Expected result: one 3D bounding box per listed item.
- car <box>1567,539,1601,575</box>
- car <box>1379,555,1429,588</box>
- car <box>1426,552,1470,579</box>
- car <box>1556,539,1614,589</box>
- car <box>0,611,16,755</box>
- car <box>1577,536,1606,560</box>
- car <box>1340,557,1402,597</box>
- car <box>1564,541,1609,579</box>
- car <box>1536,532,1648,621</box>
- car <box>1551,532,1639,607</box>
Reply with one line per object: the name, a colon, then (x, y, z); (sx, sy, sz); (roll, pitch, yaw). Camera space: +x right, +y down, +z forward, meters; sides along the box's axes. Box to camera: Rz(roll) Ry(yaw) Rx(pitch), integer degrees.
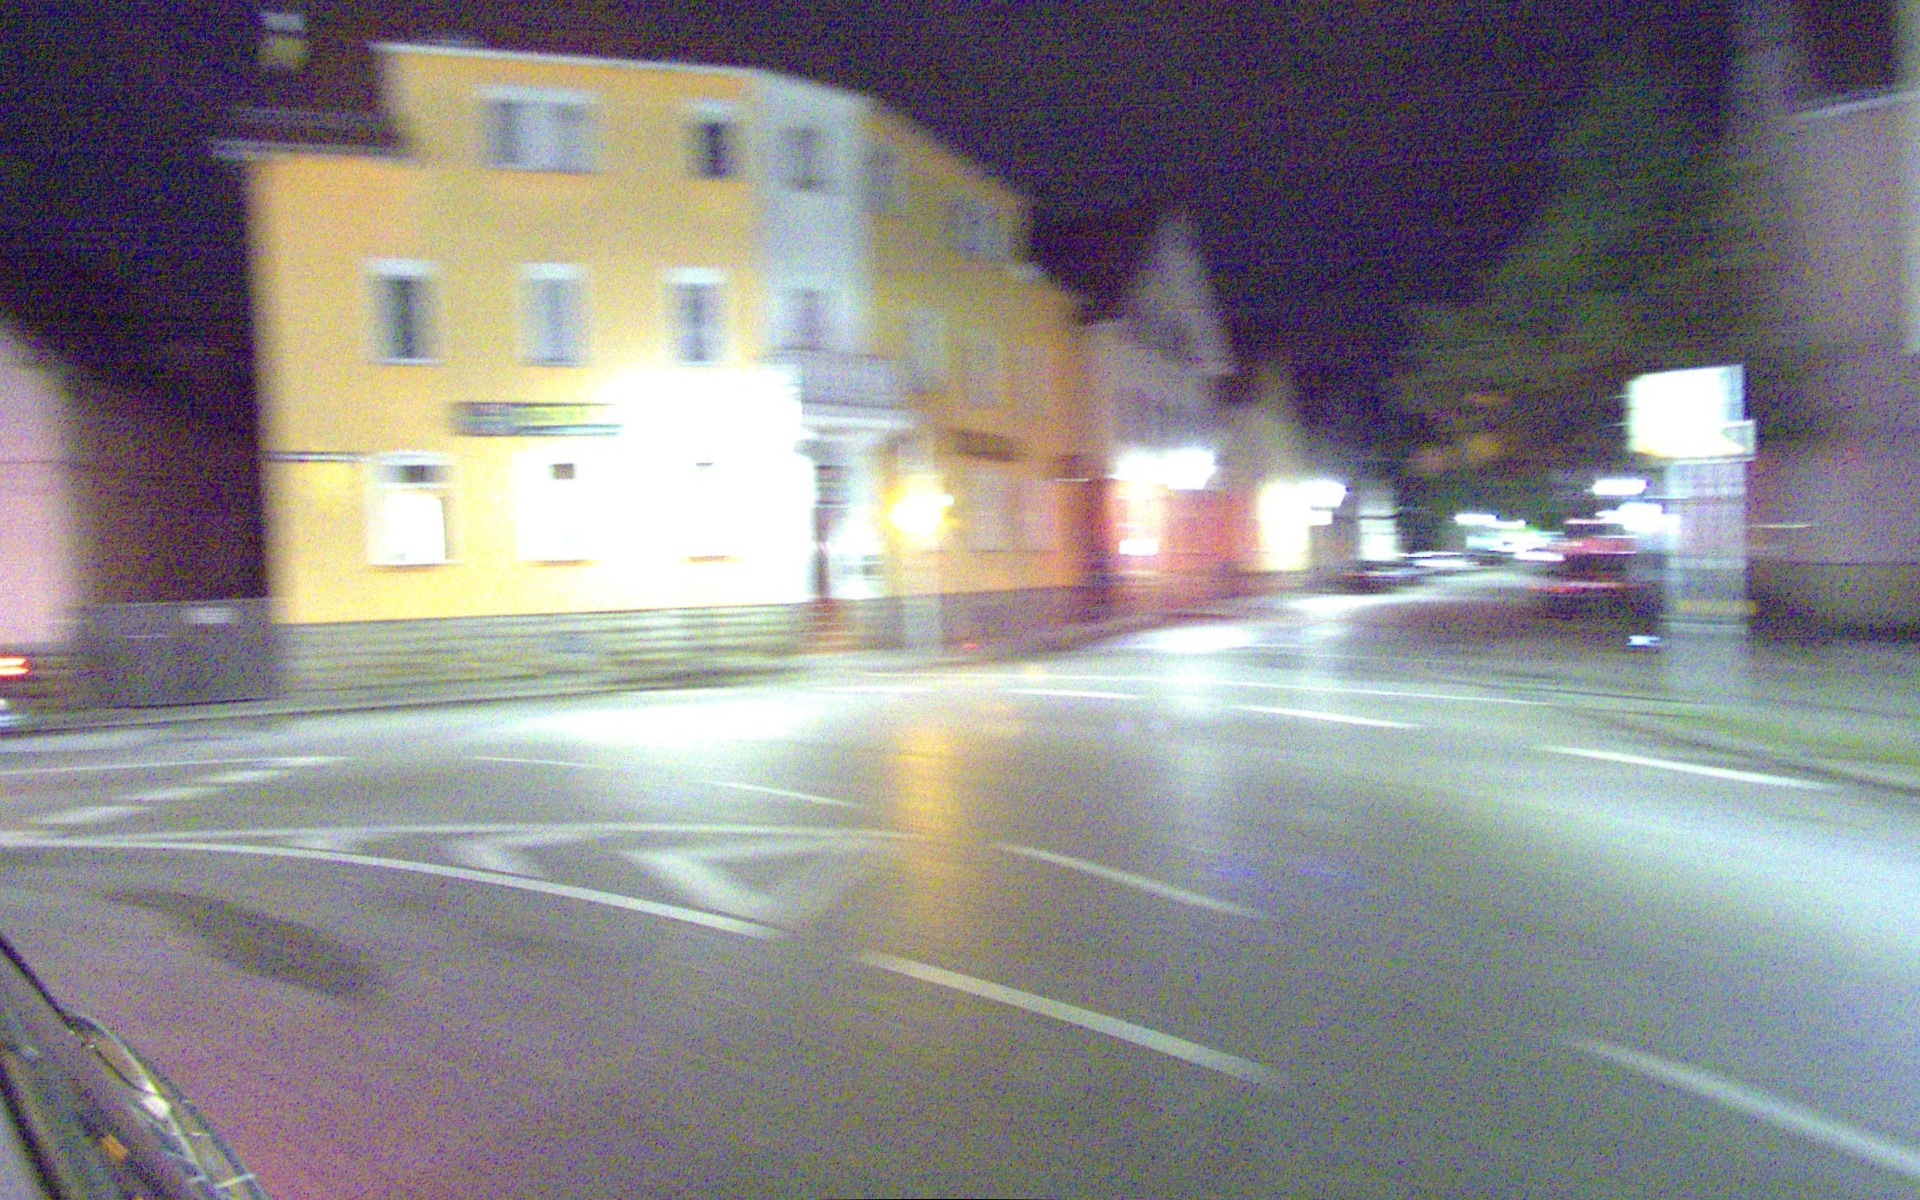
car: (44.800, -3.093, 72.713); (1.922, 2.369, 4.134); (-2, 1, 31)
car: (22.379, -1.451, 50.932); (1.706, 1.530, 3.956); (-2, 1, 33)
car: (31.054, -2.217, 64.338); (1.994, 1.530, 3.956); (-2, 1, 33)
car: (26.406, -1.532, 42.850); (1.922, 1.922, 4.134); (-2, 1, 31)
car: (-12.740, 1.037, 10.442); (4.178, 1.596, 1.744); (-3, 1, -4)
car: (53.357, -4.368, 85.598); (1.922, 1.922, 4.134); (-2, 1, 31)
car: (17.508, -1.003, 43.017); (1.729, 1.530, 3.956); (-2, 1, 33)
car: (34.097, -2.172, 55.139); (1.922, 1.922, 4.134); (-2, 1, 31)
car: (14.183, -0.553, 22.872); (1.922, 1.763, 4.134); (-2, 1, 31)
car: (17.962, -0.877, 28.789); (1.922, 1.922, 4.134); (-2, 1, 31)
